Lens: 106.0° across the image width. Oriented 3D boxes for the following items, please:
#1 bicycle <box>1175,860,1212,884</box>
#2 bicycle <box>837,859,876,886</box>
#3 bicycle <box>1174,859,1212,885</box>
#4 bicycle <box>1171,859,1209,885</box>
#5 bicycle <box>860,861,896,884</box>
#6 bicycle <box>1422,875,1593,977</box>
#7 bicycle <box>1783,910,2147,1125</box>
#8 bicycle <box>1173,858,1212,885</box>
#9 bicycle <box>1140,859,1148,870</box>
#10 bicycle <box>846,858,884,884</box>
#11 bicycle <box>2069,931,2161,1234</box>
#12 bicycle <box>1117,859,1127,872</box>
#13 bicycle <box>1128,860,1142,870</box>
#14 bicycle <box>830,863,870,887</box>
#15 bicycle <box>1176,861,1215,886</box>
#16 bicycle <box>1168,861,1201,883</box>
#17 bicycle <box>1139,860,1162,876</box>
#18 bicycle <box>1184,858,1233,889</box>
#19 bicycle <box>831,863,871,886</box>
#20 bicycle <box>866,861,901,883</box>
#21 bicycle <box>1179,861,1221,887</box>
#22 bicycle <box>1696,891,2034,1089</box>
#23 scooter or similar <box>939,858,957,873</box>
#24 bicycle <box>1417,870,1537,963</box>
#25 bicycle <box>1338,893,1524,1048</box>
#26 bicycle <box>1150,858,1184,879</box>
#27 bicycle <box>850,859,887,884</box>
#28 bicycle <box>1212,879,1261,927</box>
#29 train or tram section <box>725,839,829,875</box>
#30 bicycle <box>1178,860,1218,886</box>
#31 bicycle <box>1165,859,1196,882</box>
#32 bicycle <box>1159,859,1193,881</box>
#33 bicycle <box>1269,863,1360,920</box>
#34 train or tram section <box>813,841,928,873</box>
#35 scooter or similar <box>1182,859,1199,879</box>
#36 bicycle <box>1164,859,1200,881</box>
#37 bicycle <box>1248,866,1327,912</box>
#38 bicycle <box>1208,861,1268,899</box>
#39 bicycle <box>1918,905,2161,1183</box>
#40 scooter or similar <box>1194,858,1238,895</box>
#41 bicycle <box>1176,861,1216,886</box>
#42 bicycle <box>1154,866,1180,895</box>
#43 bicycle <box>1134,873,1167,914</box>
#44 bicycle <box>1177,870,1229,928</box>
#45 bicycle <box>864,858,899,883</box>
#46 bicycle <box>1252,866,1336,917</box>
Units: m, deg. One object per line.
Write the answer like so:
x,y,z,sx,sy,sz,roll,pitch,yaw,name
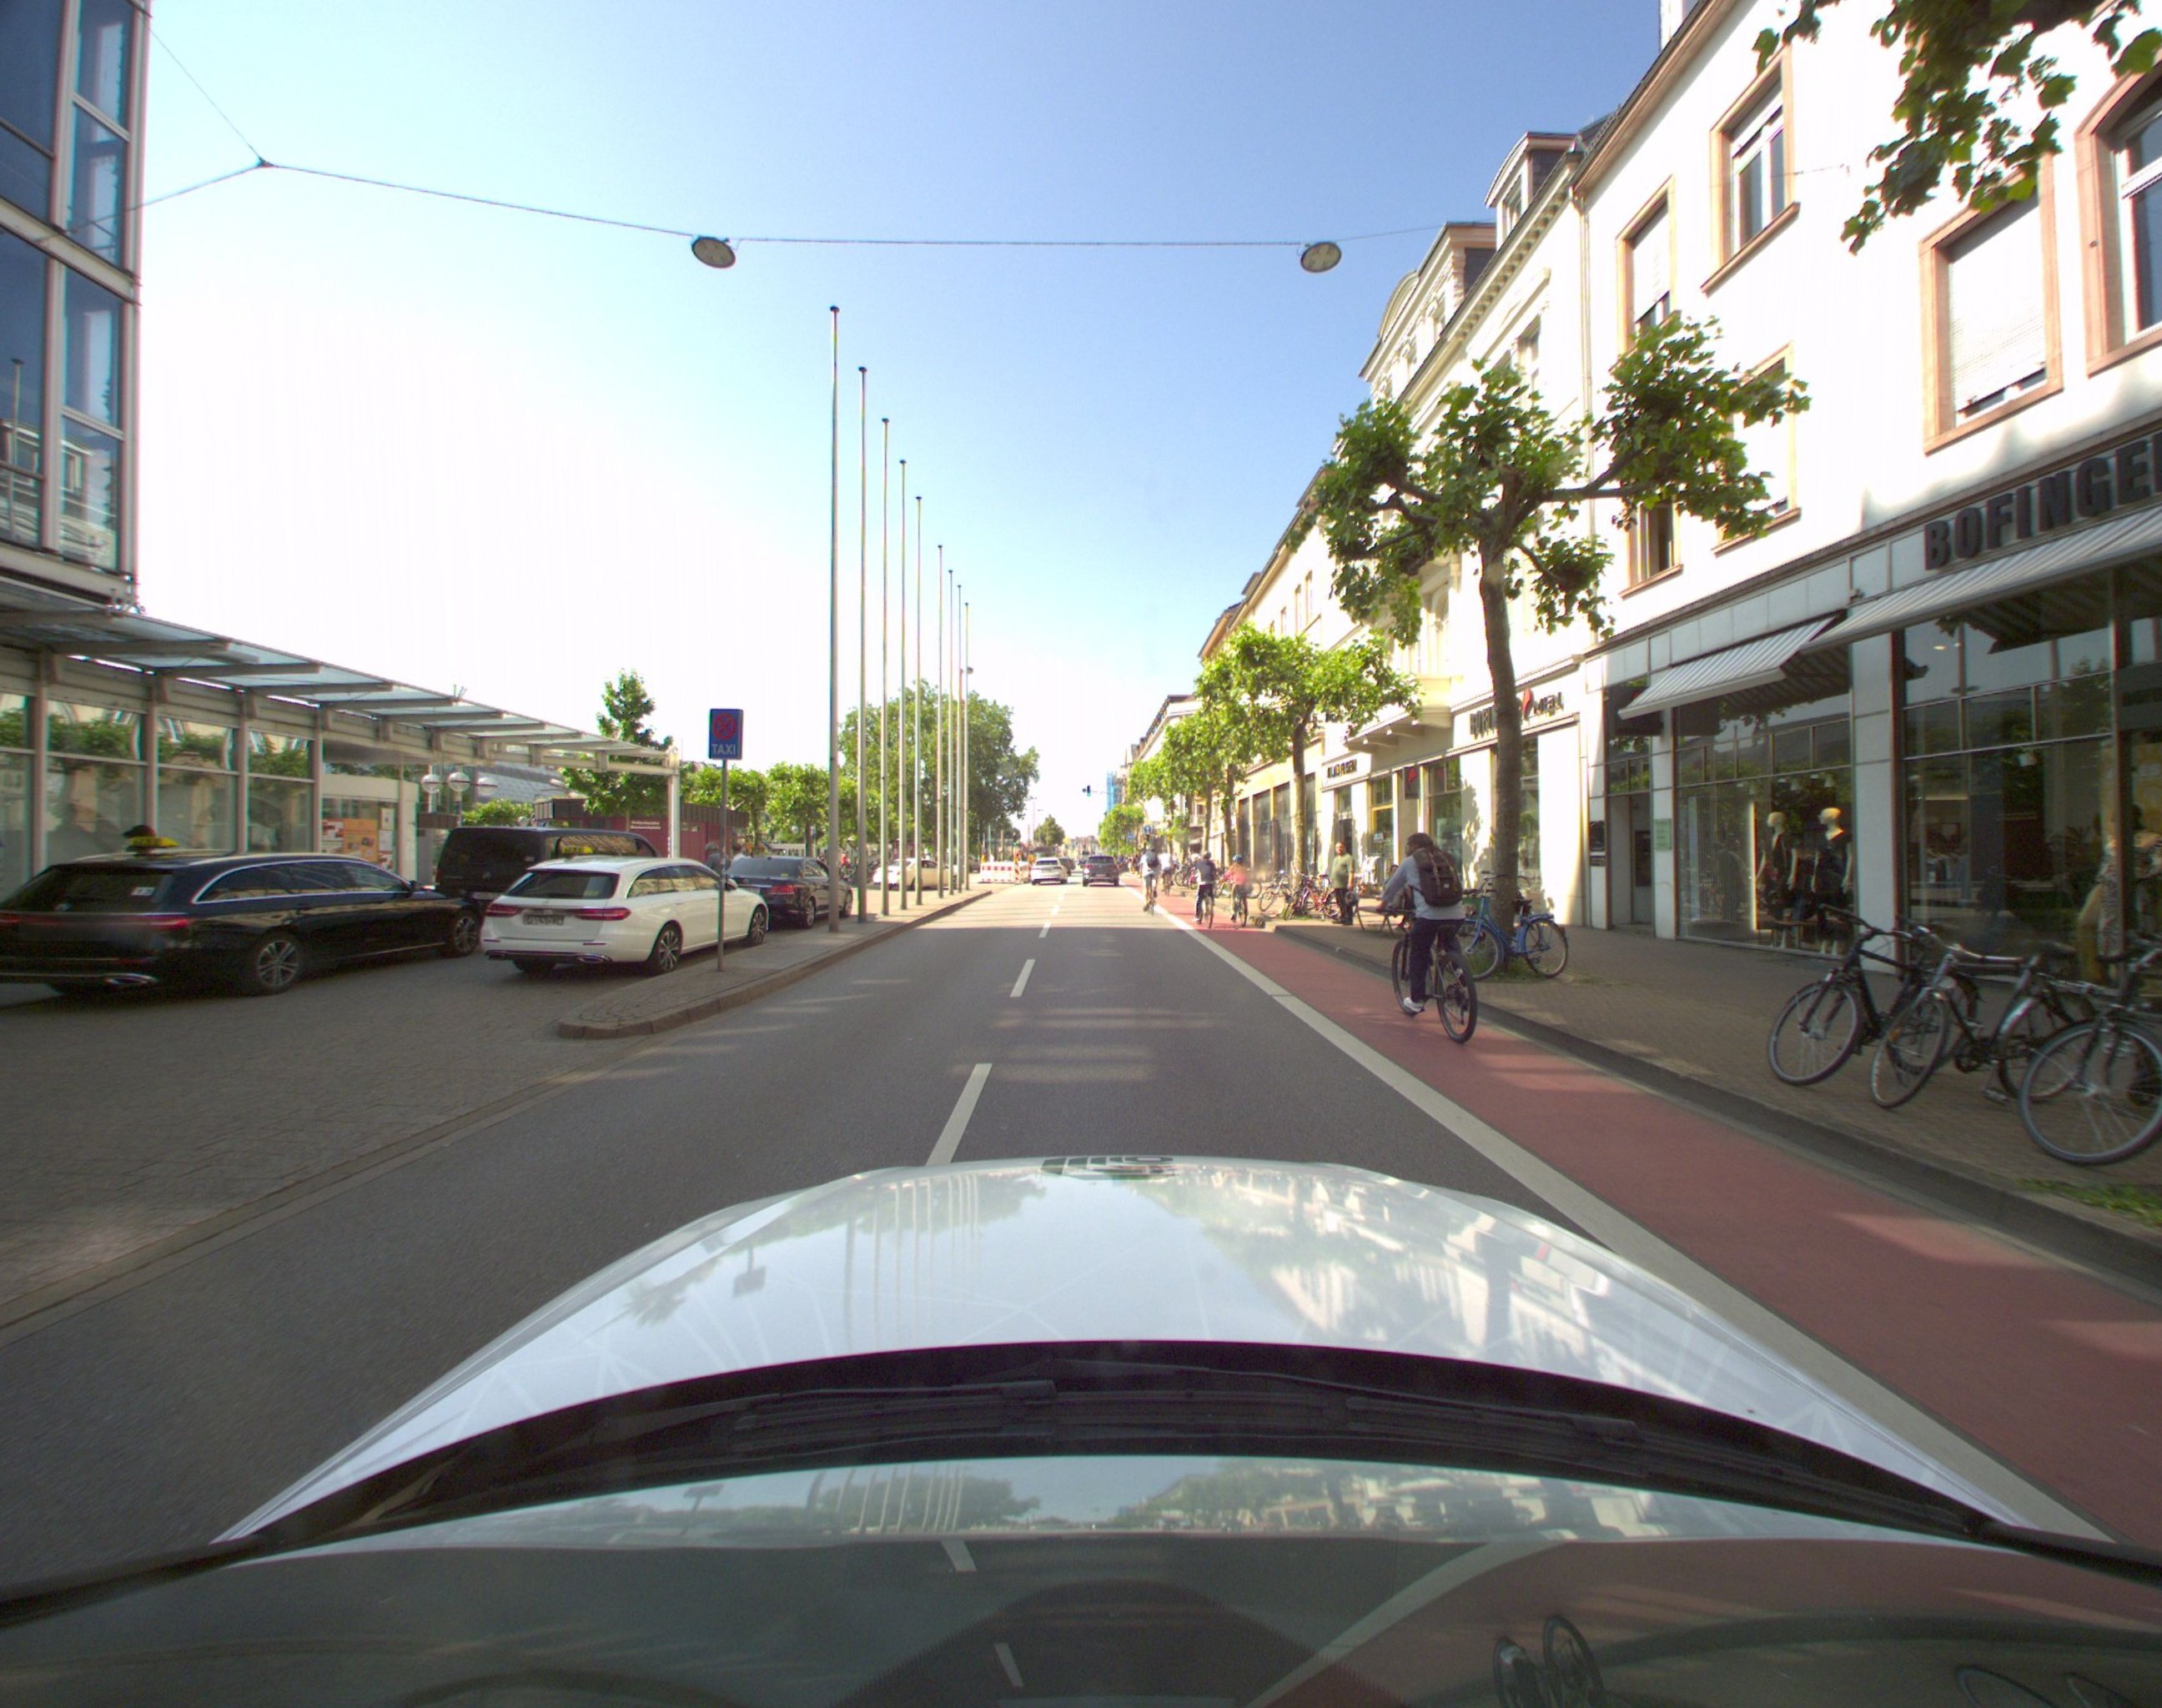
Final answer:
5.380,0.865,38.875,1.721,1.162,0.478,0,-1,2,bicycle
-11.168,0.918,40.505,1.778,1.309,0.562,0,0,-4,bicycle
5.270,0.835,38.388,1.721,1.217,0.478,0,-1,2,bicycle
5.084,0.829,37.895,1.721,1.217,0.478,0,-1,2,bicycle
-10.987,0.977,44.116,1.778,1.215,0.662,0,0,-3,bicycle
5.060,0.849,9.691,1.839,1.127,0.496,2,1,-9,bicycle
5.119,0.892,4.739,1.840,1.093,0.562,1,-1,-11,bicycle
5.091,0.815,37.171,1.721,1.217,0.478,0,-1,2,bicycle
6.420,1.061,83.233,0.396,1.114,1.432,-2,0,21,bicycle
-11.081,0.876,41.795,1.778,1.309,0.662,0,0,-3,bicycle
4.912,0.869,3.022,1.834,1.093,0.564,1,-1,-1,bicycle
3.276,0.905,65.207,0.645,0.998,2.030,-1,0,0,bicycle
5.718,1.166,85.659,1.415,0.980,0.401,-2,0,0,bicycle
-11.128,1.003,39.246,1.778,1.105,0.562,0,0,-4,bicycle
5.174,0.889,36.810,1.721,1.109,0.478,0,-1,2,bicycle
5.268,0.901,41.595,1.642,1.095,0.607,0,-1,2,bicycle
5.090,1.019,59.618,0.604,1.082,1.819,-3,0,-35,bicycle
5.242,0.793,33.645,1.924,1.248,0.736,0,0,2,bicycle
-11.280,1.007,39.933,1.778,1.132,0.562,0,0,-4,bicycle
-11.020,1.003,45.411,1.778,1.185,0.662,0,0,-3,bicycle
5.110,0.846,35.124,1.721,1.109,0.736,0,0,2,bicycle
5.019,0.833,5.237,1.840,1.127,0.630,2,-1,-11,bicycle
-12.466,1.095,76.286,1.264,1.421,1.045,-1,-1,30,scooter or similar
5.539,0.836,11.362,1.785,1.197,0.572,0,-1,-28,bicycle
3.077,0.964,7.432,0.697,1.127,2.079,1,0,-3,bicycle
5.173,0.860,49.255,1.939,1.257,0.700,0,-1,-20,bicycle
-11.148,0.914,42.727,1.778,1.309,0.662,0,0,-3,bicycle
3.428,1.053,18.086,0.599,0.926,2.085,0,0,-3,bicycle
-32.759,0.336,88.452,2.587,3.677,11.072,0,0,35,train or tram section
5.162,0.840,35.977,1.721,1.109,0.402,0,-1,2,bicycle
5.264,0.852,43.118,1.642,1.201,0.474,0,-1,2,bicycle
5.157,0.857,44.336,1.837,1.201,0.545,0,-1,2,bicycle
5.060,0.802,17.716,1.830,1.197,0.675,0,-1,7,bicycle
-25.253,0.377,99.275,2.587,3.677,15.646,0,0,34,train or tram section
6.456,0.882,48.050,0.422,1.178,1.223,0,0,-21,scooter or similar
5.392,0.855,43.533,1.837,1.201,0.474,0,-1,2,bicycle
5.151,0.866,20.438,1.831,1.097,0.795,0,-1,5,bicycle
5.108,0.832,26.545,1.831,1.186,0.671,1,-1,4,bicycle
5.257,0.845,3.999,1.842,1.127,0.762,2,-2,-13,bicycle
4.770,0.778,28.728,1.465,1.274,0.672,1,-1,10,scooter or similar
5.138,0.871,36.390,1.721,1.109,0.402,0,-1,2,bicycle
3.269,1.001,31.206,0.772,1.006,2.329,-1,0,0,bicycle
1.768,0.989,20.931,0.628,0.980,2.088,0,-1,-1,bicycle
2.606,0.935,17.606,0.697,1.127,2.079,1,0,-3,bicycle
-11.320,0.923,46.133,1.778,1.348,0.740,1,-1,-3,bicycle
4.896,0.849,18.780,1.828,1.127,0.499,1,-1,10,bicycle
